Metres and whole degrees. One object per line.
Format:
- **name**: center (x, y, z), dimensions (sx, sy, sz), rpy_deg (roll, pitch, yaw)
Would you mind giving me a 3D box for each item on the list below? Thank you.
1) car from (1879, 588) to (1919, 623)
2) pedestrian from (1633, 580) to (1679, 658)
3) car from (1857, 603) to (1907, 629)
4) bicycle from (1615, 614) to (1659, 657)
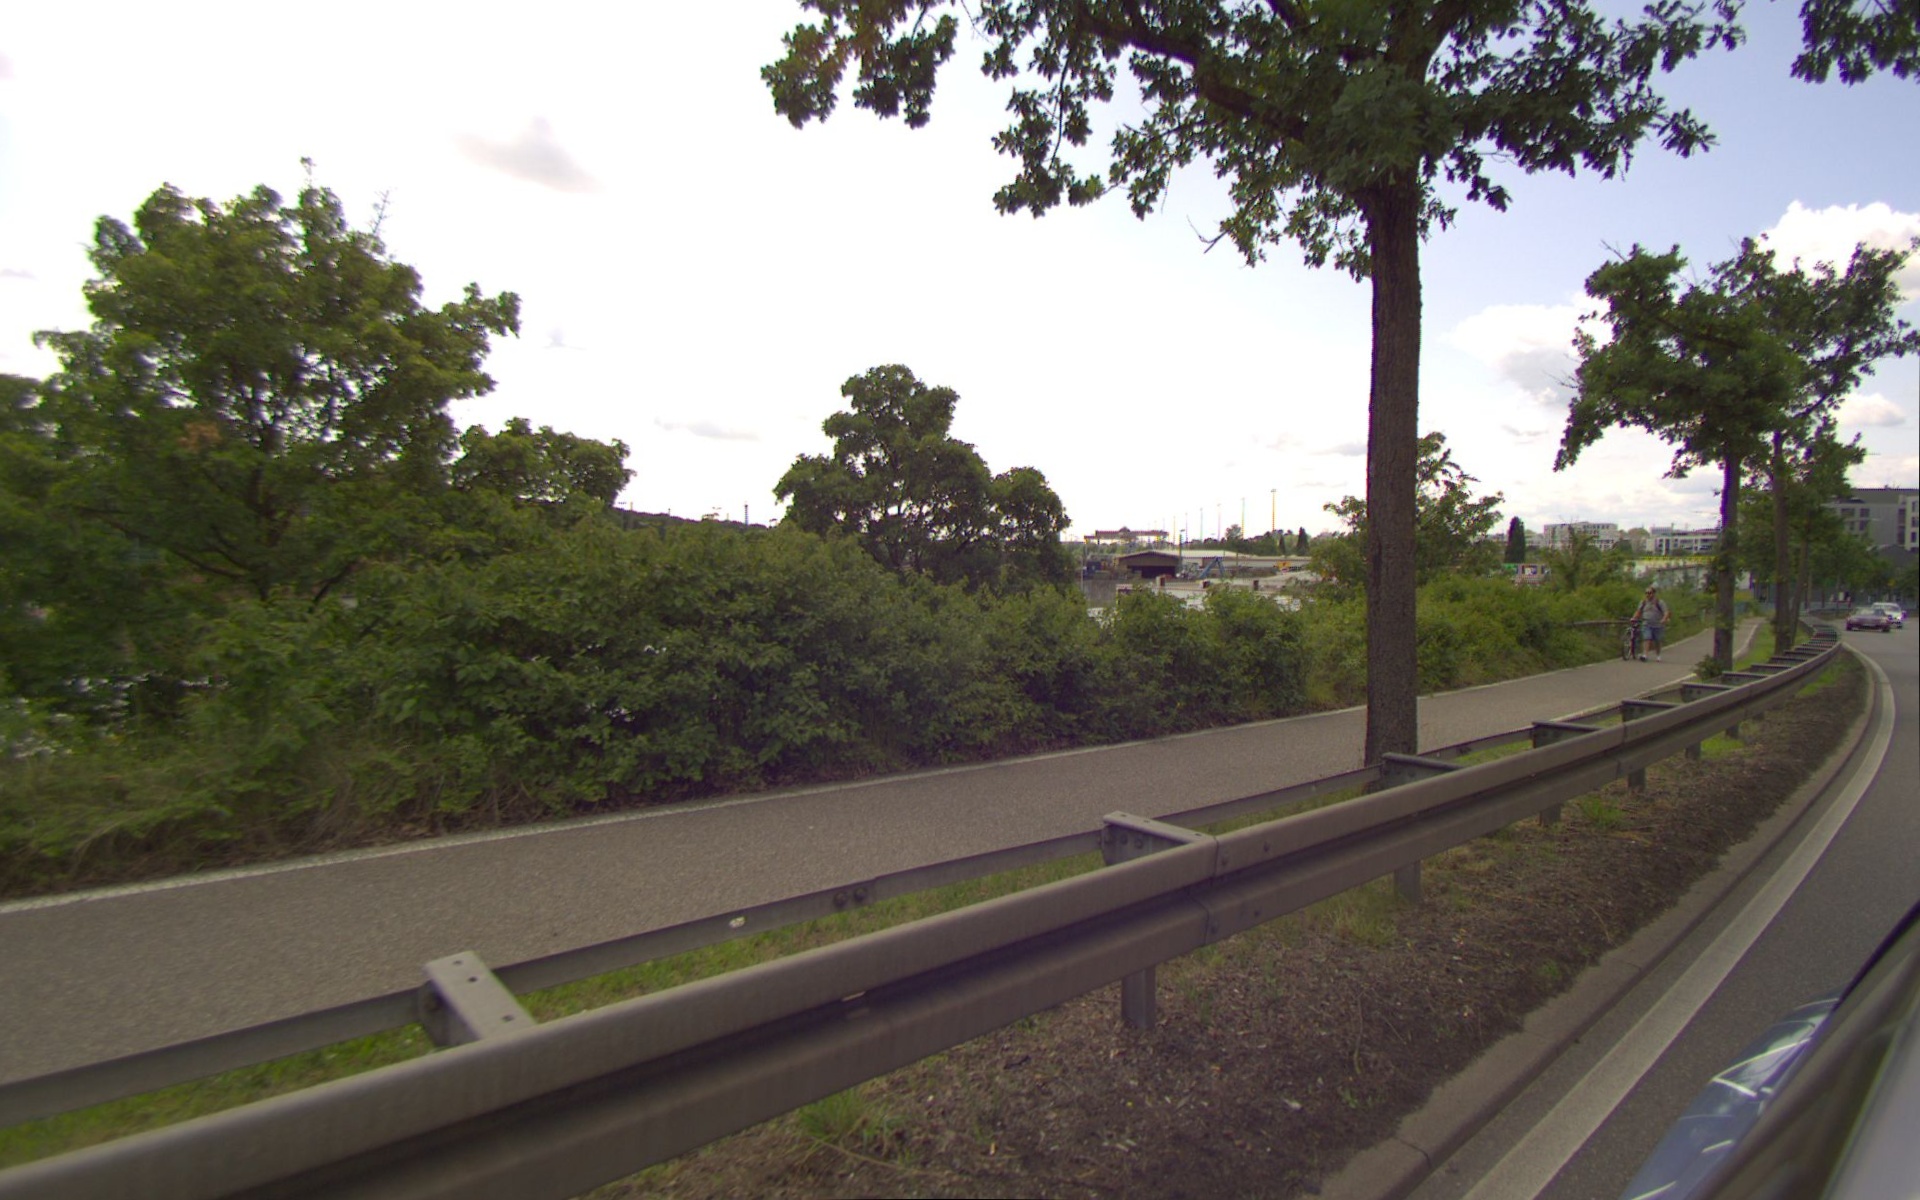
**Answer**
- **car**: center (62.132, 0.313, 66.820), dimensions (1.994, 2.037, 3.939), rpy_deg (7, 6, 42)
- **pedestrian**: center (15.424, 0.409, 22.423), dimensions (0.657, 1.662, 1.039), rpy_deg (4, 2, 41)
- **car**: center (49.868, 0.869, 54.715), dimensions (1.843, 1.222, 3.937), rpy_deg (5, 3, 43)
- **bicycle**: center (15.189, 0.772, 22.701), dimensions (0.556, 0.880, 1.798), rpy_deg (4, 2, 41)
